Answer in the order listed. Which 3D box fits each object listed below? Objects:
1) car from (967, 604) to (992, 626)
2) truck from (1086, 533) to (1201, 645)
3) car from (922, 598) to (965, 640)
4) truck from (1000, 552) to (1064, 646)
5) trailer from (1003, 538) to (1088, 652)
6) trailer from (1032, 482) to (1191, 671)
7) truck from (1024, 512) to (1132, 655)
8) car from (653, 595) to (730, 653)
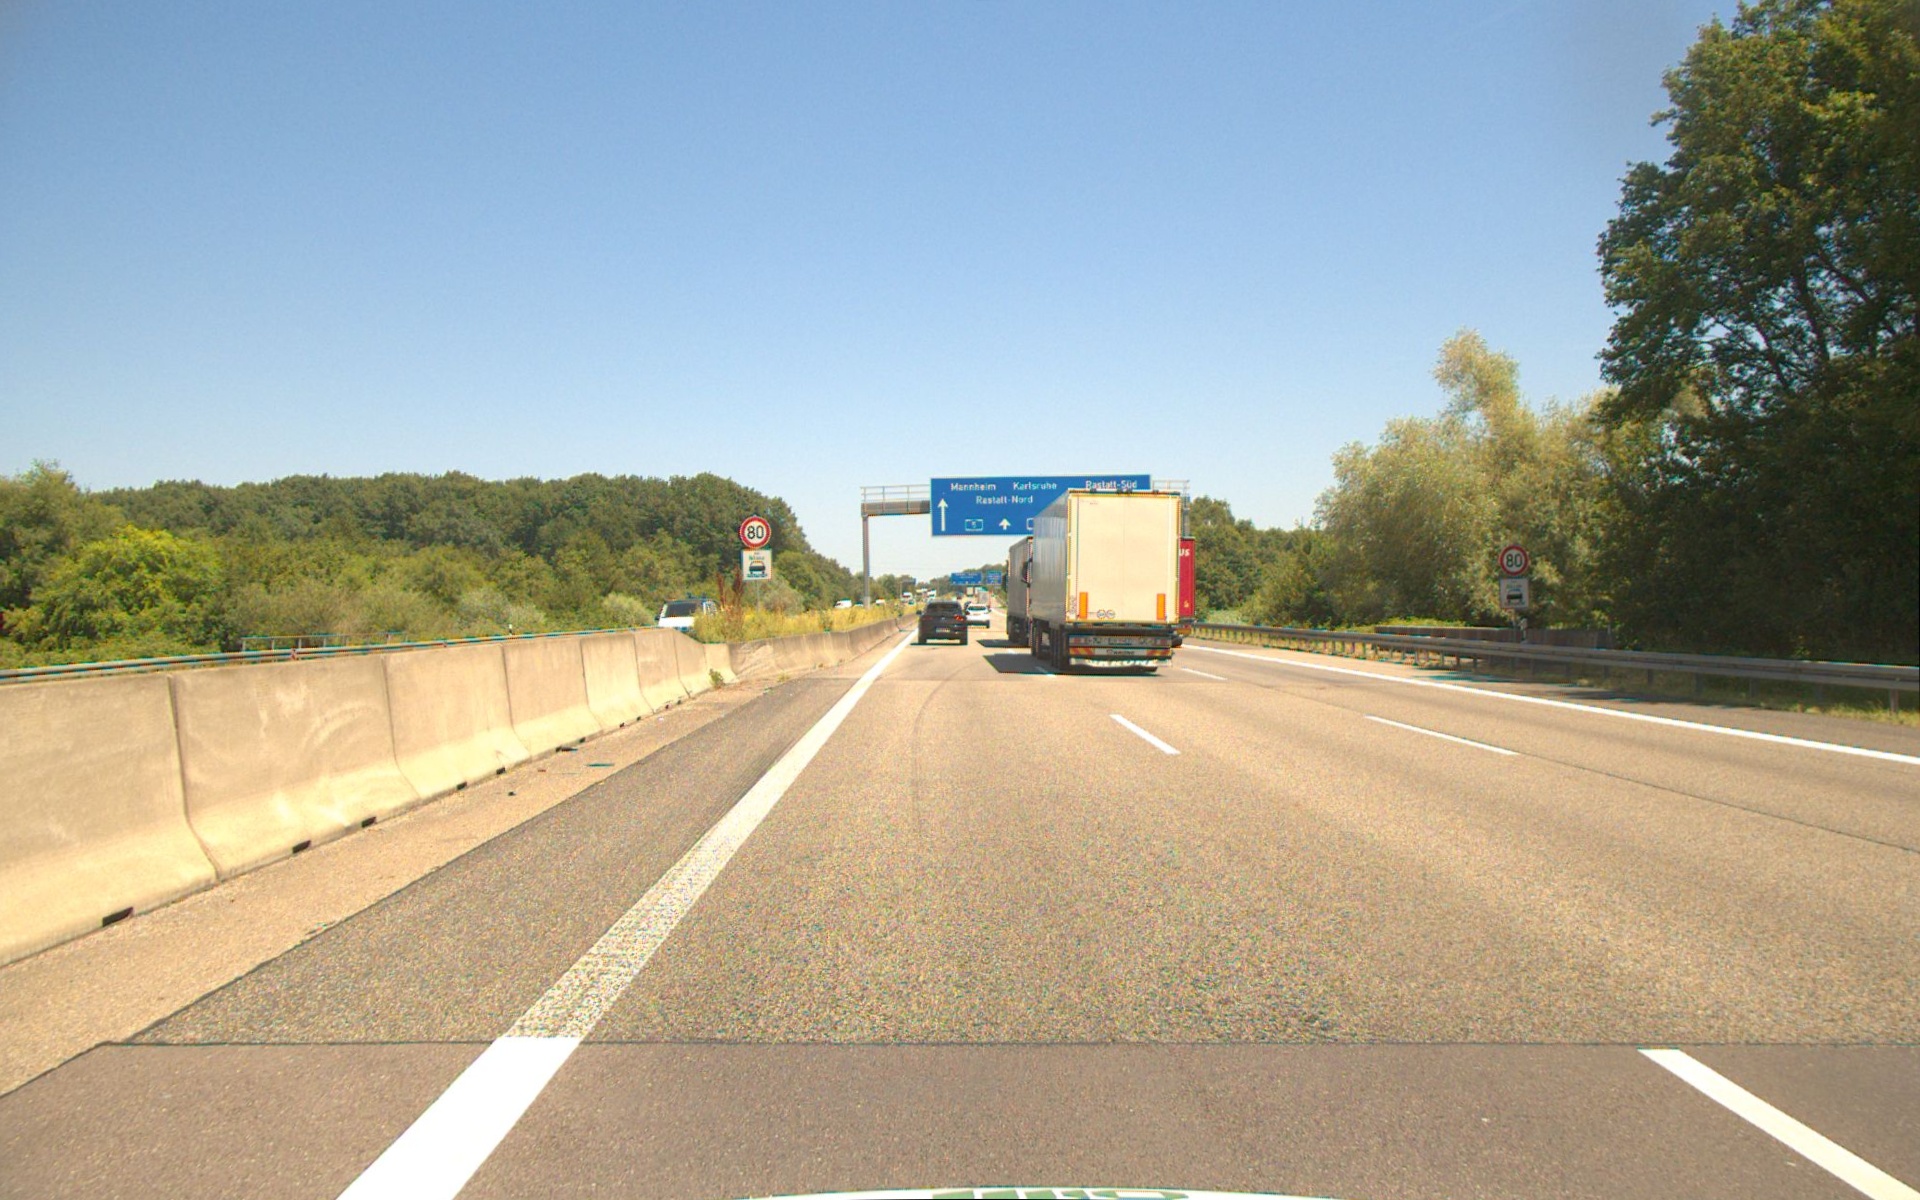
[{"bbox_3d":[1.327,1.050,115.841,1.704,1.512,4.000,0,0,0],"label":"car"},{"bbox_3d":[7.427,-0.388,68.953,2.994,4.178,13.214,0,0,-1],"label":"truck"},{"bbox_3d":[-0.694,0.737,65.927,1.626,1.576,3.782,-1,0,-1],"label":"car"},{"bbox_3d":[3.255,-0.020,76.496,2.645,4.166,6.452,0,-1,0],"label":"truck"},{"bbox_3d":[3.277,-0.104,67.265,2.652,4.139,14.744,0,-1,0],"label":"trailer"},{"bbox_3d":[3.583,-0.507,42.386,2.738,4.106,12.565,0,0,-1],"label":"trailer"},{"bbox_3d":[3.480,-0.467,50.163,2.743,4.077,6.019,0,0,-1],"label":"truck"},{"bbox_3d":[-10.282,0.883,63.761,1.953,2.049,6.221,-2,0,-1],"label":"car"}]
